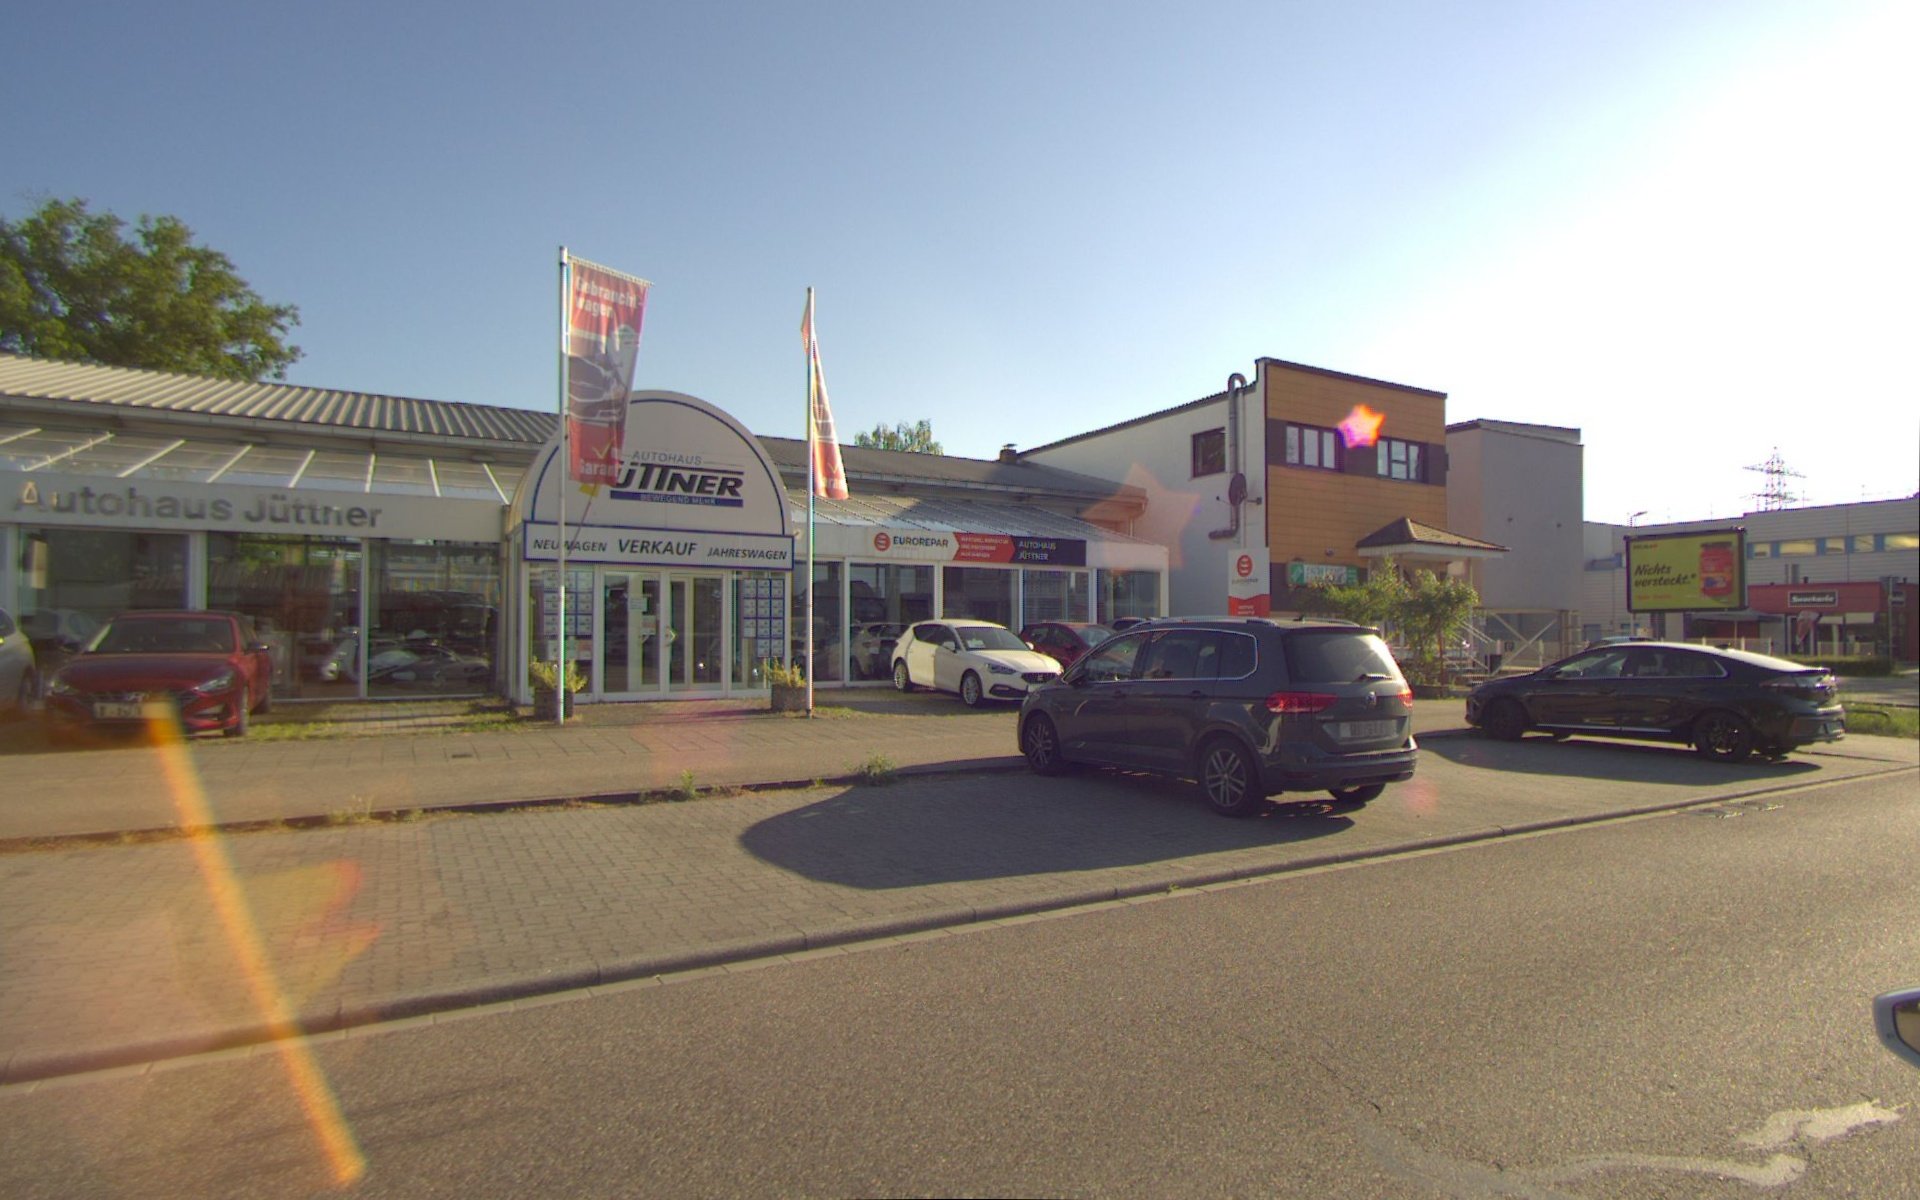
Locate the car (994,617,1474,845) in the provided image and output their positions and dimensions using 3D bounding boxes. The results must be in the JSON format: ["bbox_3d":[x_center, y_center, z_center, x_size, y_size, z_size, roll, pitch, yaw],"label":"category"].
[{"bbox_3d":[2.410,1.034,9.860,2.178,1.677,4.207,2,-1,-32],"label":"car"}]

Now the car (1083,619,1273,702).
[{"bbox_3d":[4.537,1.211,21.475,1.865,1.576,3.893,1,-1,-30],"label":"car"}]

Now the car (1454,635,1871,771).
[{"bbox_3d":[9.521,1.280,13.973,2.178,1.479,4.289,2,-1,-32],"label":"car"}]

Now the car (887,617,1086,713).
[{"bbox_3d":[0.374,1.130,18.843,1.976,1.576,3.969,1,-1,-30],"label":"car"}]

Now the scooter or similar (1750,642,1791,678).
[{"bbox_3d":[29.246,2.161,36.275,0.613,1.216,1.390,1,-1,14],"label":"scooter or similar"}]

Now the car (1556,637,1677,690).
[{"bbox_3d":[23.928,2.268,36.602,4.289,1.598,1.984,-1,0,-30],"label":"car"}]

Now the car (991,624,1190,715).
[{"bbox_3d":[2.501,1.305,20.111,1.976,1.576,3.969,1,-1,-30],"label":"car"}]

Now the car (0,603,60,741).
[{"bbox_3d":[-12.131,0.822,11.453,1.907,1.613,4.637,1,-1,-31],"label":"car"}]

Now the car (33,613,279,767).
[{"bbox_3d":[-9.888,0.971,12.722,1.816,1.574,4.441,1,-1,-31],"label":"car"}]
